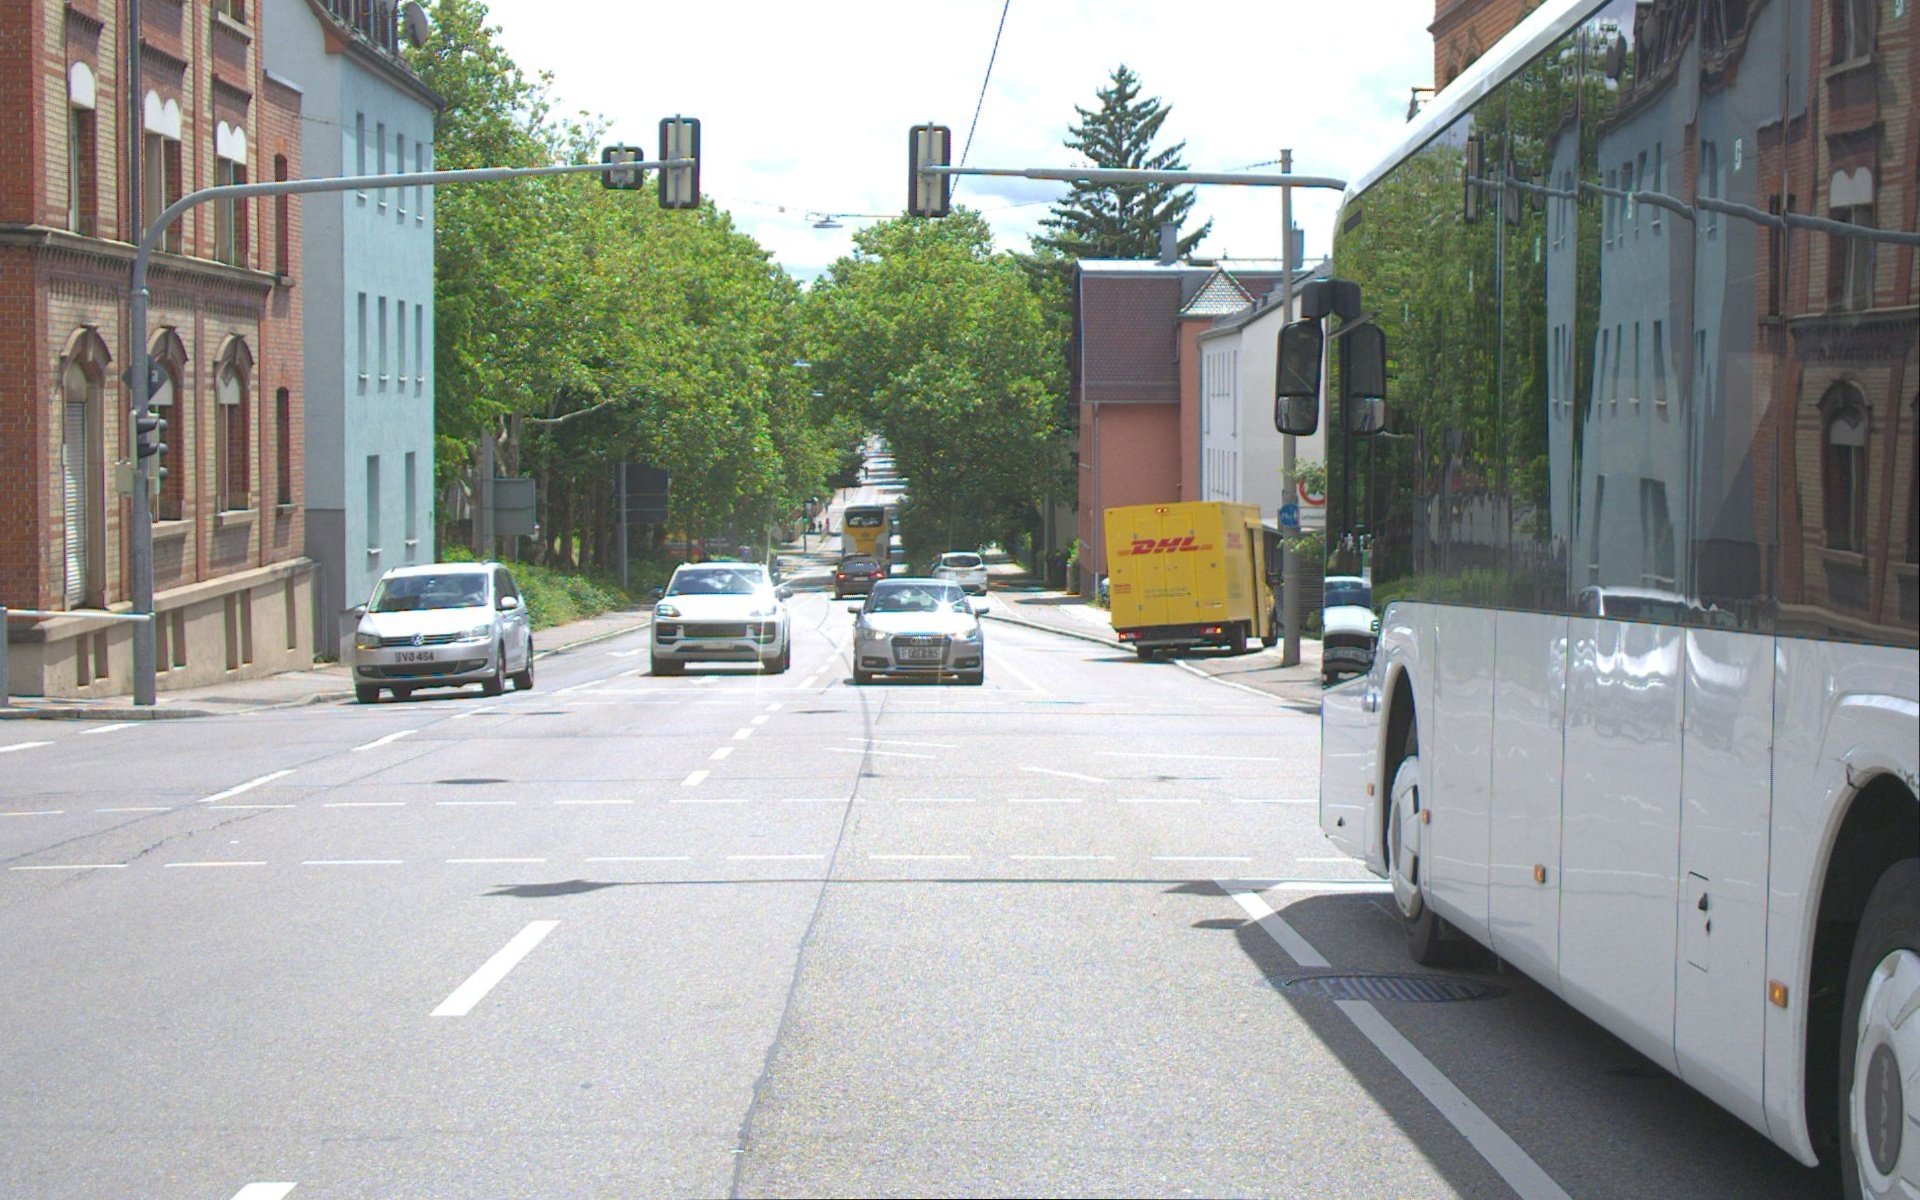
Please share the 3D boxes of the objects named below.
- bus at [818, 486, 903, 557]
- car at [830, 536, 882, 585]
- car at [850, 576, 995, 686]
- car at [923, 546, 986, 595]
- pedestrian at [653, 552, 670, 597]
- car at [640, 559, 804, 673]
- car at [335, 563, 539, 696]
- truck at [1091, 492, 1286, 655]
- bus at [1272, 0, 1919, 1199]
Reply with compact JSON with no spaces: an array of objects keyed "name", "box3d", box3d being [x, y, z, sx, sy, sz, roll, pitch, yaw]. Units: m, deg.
[{"name":"bus","box3d":[-5.380,-4.142,183.517,3.299,3.618,11.247,-1,1,-8]},{"name":"car","box3d":[-3.826,-1.466,126.609,1.819,1.778,4.000,-1,1,-1]},{"name":"car","box3d":[-0.513,0.388,46.658,1.865,1.363,4.547,-1,1,-1]},{"name":"car","box3d":[-0.230,-1.122,129.412,2.091,1.824,4.143,0,1,-4]},{"name":"pedestrian","box3d":[-11.835,-1.022,136.465,0.606,1.752,0.654,-1,1,-2]},{"name":"car","box3d":[-3.562,0.207,52.273,2.207,1.607,4.547,-1,1,-1]},{"name":"car","box3d":[-6.525,0.330,43.331,1.935,1.558,4.389,-1,1,-1]},{"name":"truck","box3d":[4.415,-0.508,65.186,2.543,2.903,6.568,1,1,14]},{"name":"bus","box3d":[2.959,-0.221,9.305,2.904,3.498,12.488,1,1,-1]}]
